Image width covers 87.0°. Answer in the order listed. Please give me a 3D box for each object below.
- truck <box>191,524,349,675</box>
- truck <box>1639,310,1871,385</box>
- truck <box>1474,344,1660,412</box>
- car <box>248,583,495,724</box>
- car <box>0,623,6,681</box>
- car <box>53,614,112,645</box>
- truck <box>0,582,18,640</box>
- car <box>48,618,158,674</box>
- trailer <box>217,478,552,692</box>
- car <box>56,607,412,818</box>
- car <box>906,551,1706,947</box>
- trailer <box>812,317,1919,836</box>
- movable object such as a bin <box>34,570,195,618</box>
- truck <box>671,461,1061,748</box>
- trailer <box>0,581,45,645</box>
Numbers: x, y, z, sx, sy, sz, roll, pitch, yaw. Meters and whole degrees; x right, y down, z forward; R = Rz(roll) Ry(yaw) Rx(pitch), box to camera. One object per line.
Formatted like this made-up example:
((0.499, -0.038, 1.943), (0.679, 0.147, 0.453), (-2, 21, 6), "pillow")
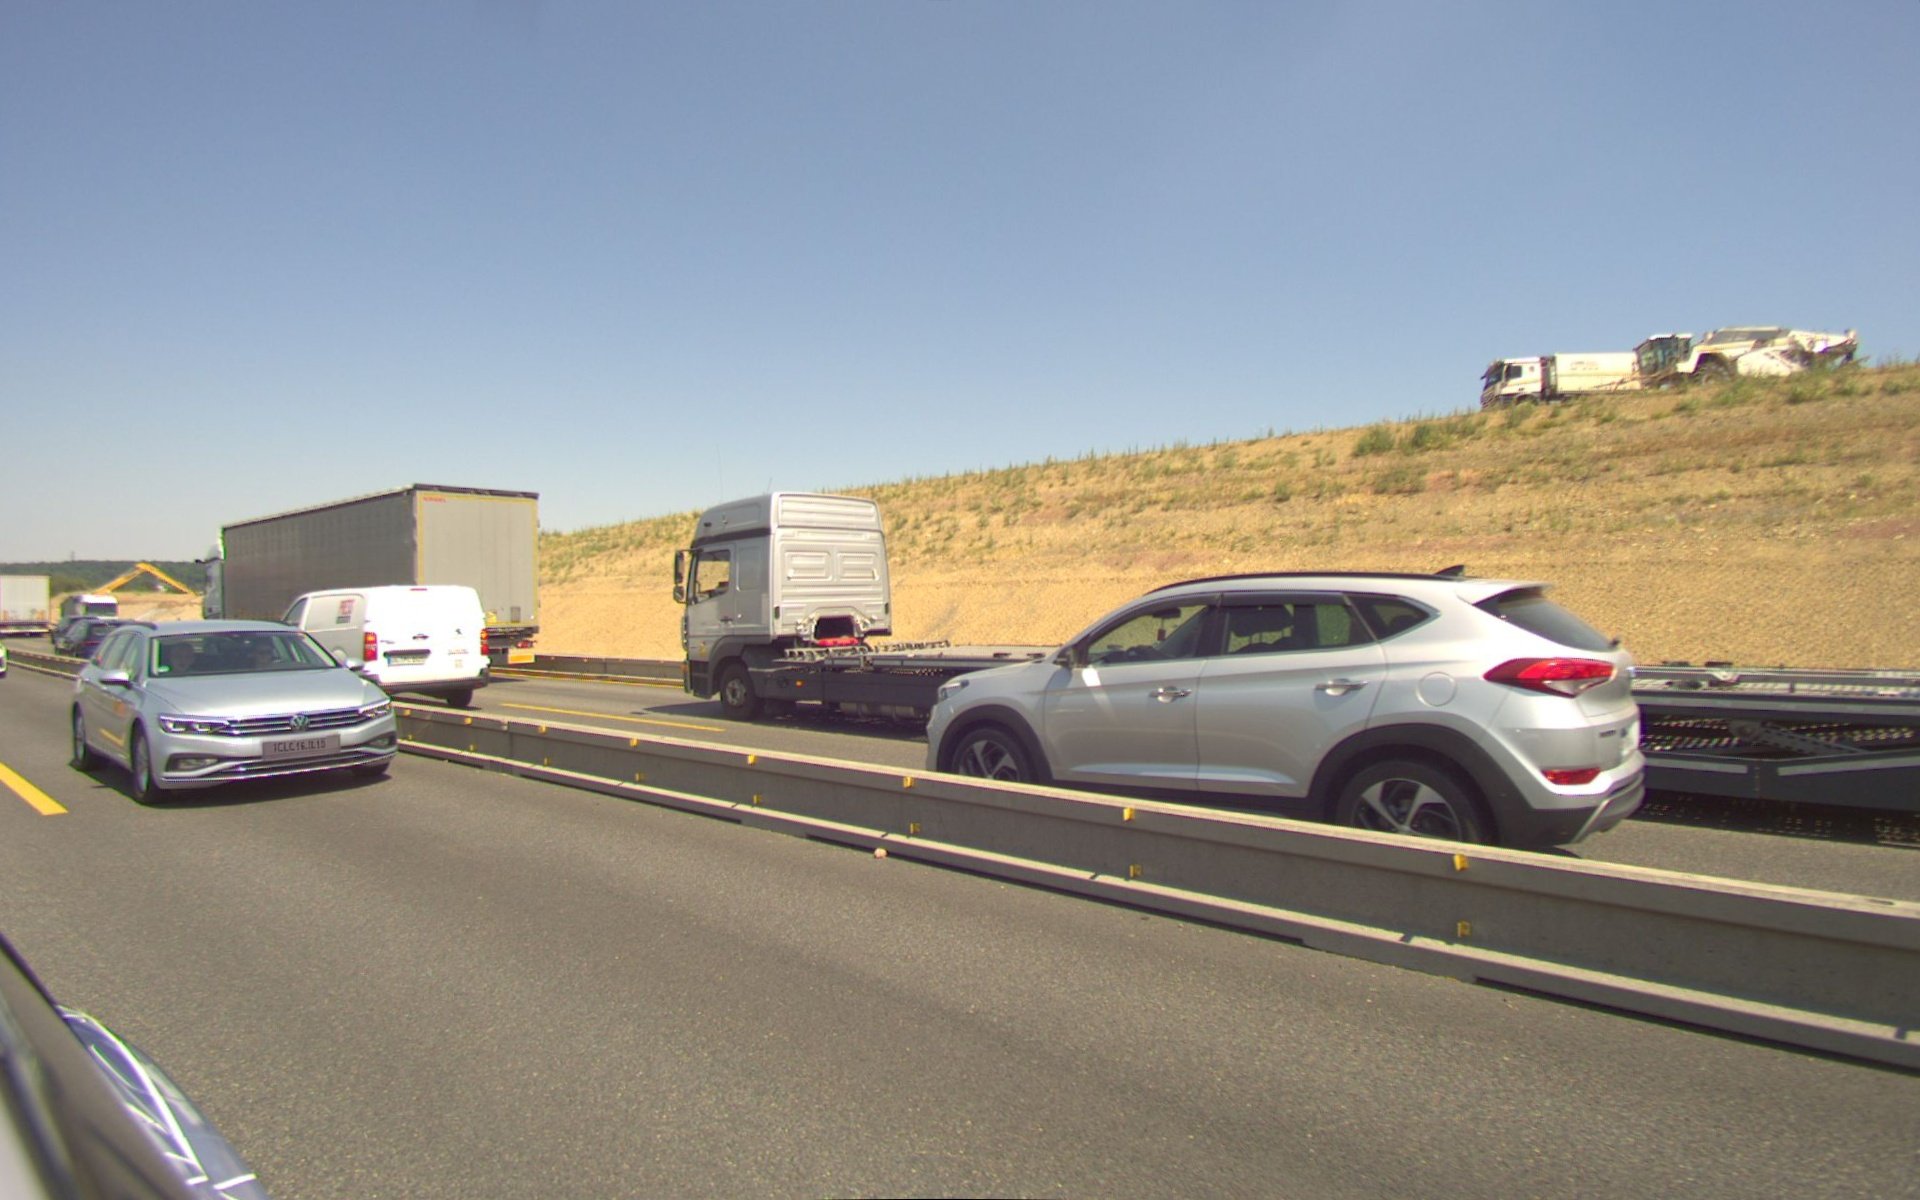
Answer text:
((-20.506, -0.024, 30.009), (4.942, 4.074, 2.740), (0, 1, 42), "truck")
((37.722, -11.983, 48.260), (8.795, 2.769, 2.299), (0, 0, 6), "truck")
((32.326, -11.809, 54.142), (8.263, 2.920, 2.358), (0, 0, 6), "truck")
((-9.624, 0.726, 16.335), (5.260, 1.941, 1.807), (0, 1, 40), "car")
((-25.480, 1.285, 25.417), (4.029, 1.408, 1.851), (0, 1, 42), "car")
((-45.321, 1.500, 52.236), (4.498, 1.435, 1.614), (0, 1, 40), "car")
((-69.695, 0.817, 72.556), (5.145, 4.084, 2.566), (-1, 0, 40), "truck")
((-24.641, 1.268, 29.044), (4.481, 1.397, 1.709), (0, 1, 40), "car")
((-14.803, -0.197, 25.019), (13.702, 4.106, 2.762), (-1, 0, 41), "trailer")
((-6.897, 0.860, 9.453), (4.098, 1.519, 1.781), (-1, 0, 41), "car")
((1.846, 0.602, 6.262), (4.387, 1.643, 1.707), (0, 1, 40), "car")
((4.668, -0.127, 8.032), (15.265, 2.954, 2.322), (-1, 0, 42), "trailer")
((-125.132, -0.944, 150.330), (3.386, 6.823, 18.034), (0, 1, 40), "movable object such as a bin")
((-1.405, 0.029, 13.482), (5.061, 3.082, 2.373), (0, 1, 42), "truck")
((-64.215, 0.869, 67.806), (13.988, 3.968, 2.626), (-1, 0, 41), "trailer")
